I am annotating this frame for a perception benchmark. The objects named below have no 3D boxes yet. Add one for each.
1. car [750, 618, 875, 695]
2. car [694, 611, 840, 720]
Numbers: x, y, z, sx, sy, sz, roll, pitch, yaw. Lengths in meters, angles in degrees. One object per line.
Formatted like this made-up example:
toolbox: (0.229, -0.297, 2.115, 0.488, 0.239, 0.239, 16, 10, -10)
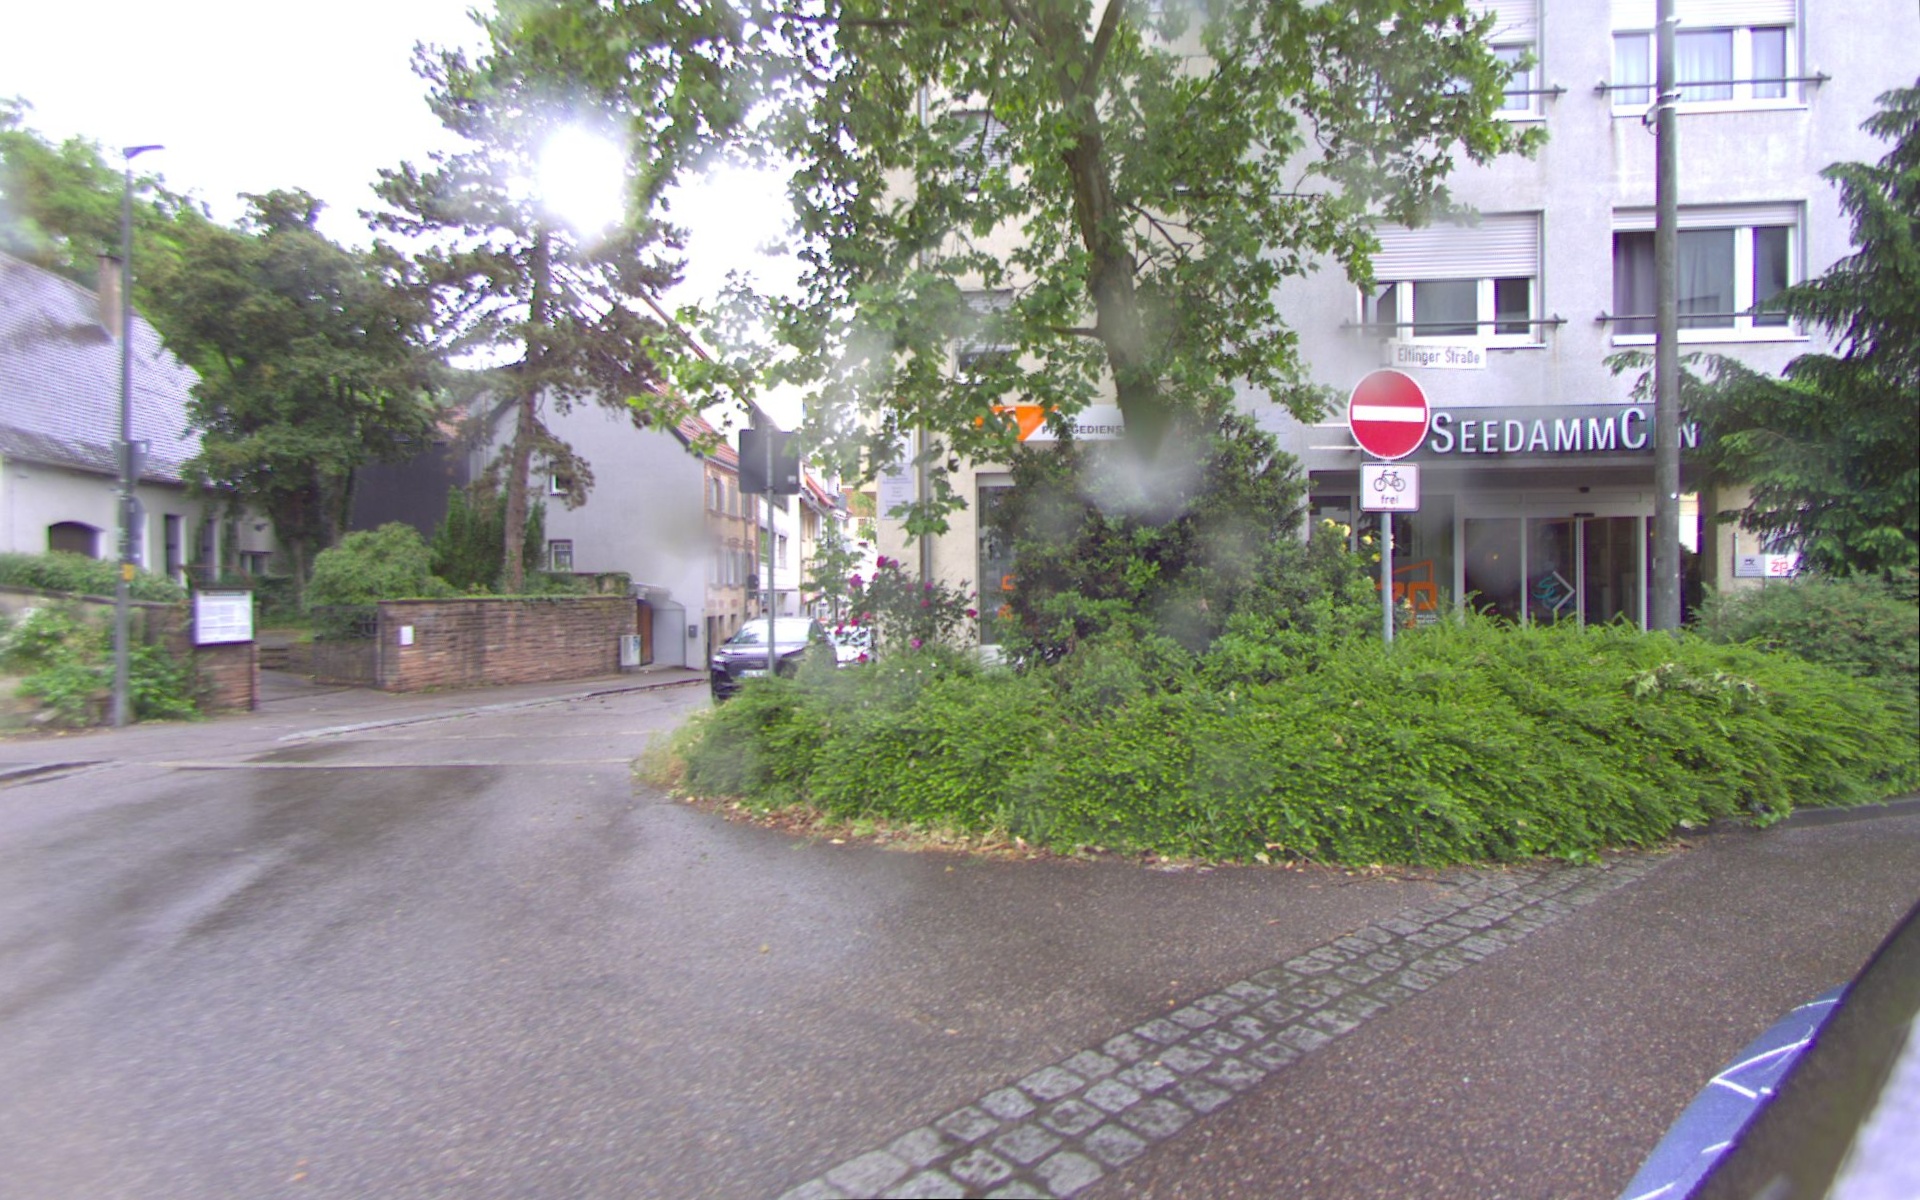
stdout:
car: (-3.280, 1.220, 23.321, 1.965, 1.594, 3.993, -1, -1, 6)
car: (-3.427, 1.102, 18.694, 1.962, 1.672, 4.001, 3, 0, -1)
